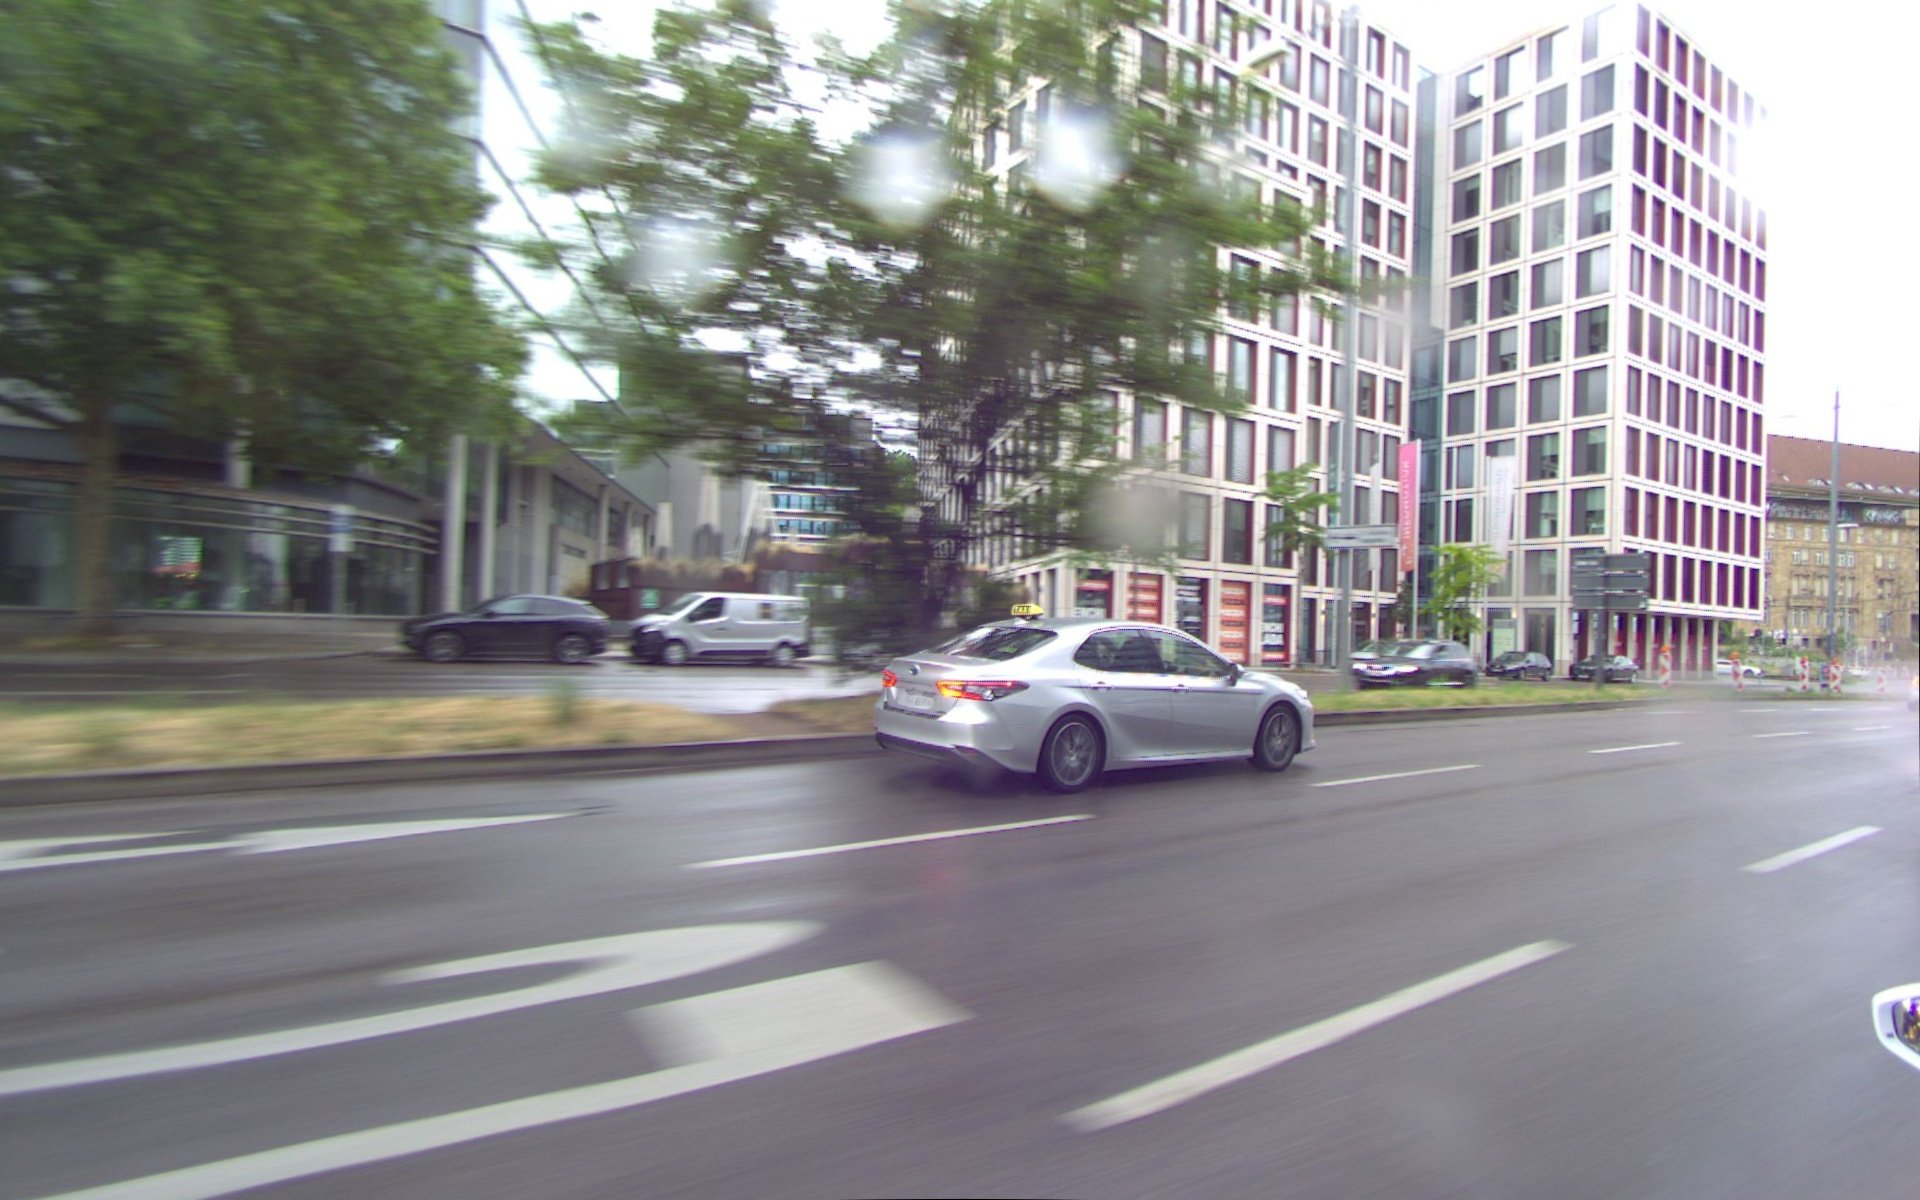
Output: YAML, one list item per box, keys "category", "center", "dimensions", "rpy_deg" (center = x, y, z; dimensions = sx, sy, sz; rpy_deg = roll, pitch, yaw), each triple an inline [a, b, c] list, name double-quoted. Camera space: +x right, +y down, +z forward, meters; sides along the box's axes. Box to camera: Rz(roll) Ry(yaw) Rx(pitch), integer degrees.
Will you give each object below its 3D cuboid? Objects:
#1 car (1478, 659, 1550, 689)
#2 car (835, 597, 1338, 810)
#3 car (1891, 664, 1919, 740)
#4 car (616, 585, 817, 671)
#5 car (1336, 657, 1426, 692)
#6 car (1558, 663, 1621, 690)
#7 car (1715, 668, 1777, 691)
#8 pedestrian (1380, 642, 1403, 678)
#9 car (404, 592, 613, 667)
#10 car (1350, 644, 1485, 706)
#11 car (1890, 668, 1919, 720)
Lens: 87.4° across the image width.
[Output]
- category: "car"
  center: [28.281, 3.790, 51.253]
  dimensions: [3.917, 1.442, 1.686]
  rpy_deg: [4, -3, -36]
- category: "car"
  center: [1.374, 0.910, 9.571]
  dimensions: [4.756, 1.541, 1.818]
  rpy_deg: [4, -1, -36]
- category: "car"
  center: [20.419, 2.107, 19.907]
  dimensions: [4.334, 1.422, 1.724]
  rpy_deg: [4, -1, -31]
- category: "car"
  center: [-6.587, 0.784, 27.407]
  dimensions: [4.870, 2.040, 1.980]
  rpy_deg: [4, -1, -36]
- category: "car"
  center: [18.700, 3.309, 44.567]
  dimensions: [4.332, 1.442, 1.686]
  rpy_deg: [4, -3, -36]
- category: "car"
  center: [35.568, 4.327, 56.714]
  dimensions: [3.917, 1.442, 1.686]
  rpy_deg: [4, -3, -36]
- category: "car"
  center: [71.201, 7.149, 91.074]
  dimensions: [4.328, 1.683, 1.992]
  rpy_deg: [3, -1, 39]
- category: "pedestrian"
  center: [21.515, 2.990, 50.057]
  dimensions: [0.958, 1.757, 0.608]
  rpy_deg: [4, -1, -37]
- category: "car"
  center: [-10.805, 0.728, 24.150]
  dimensions: [4.246, 1.549, 1.785]
  rpy_deg: [4, -1, -36]
- category: "car"
  center: [13.911, 2.278, 30.409]
  dimensions: [4.838, 1.653, 1.809]
  rpy_deg: [5, -1, -41]
- category: "car"
  center: [32.580, 3.183, 33.620]
  dimensions: [3.971, 1.637, 1.717]
  rpy_deg: [5, -1, -42]
